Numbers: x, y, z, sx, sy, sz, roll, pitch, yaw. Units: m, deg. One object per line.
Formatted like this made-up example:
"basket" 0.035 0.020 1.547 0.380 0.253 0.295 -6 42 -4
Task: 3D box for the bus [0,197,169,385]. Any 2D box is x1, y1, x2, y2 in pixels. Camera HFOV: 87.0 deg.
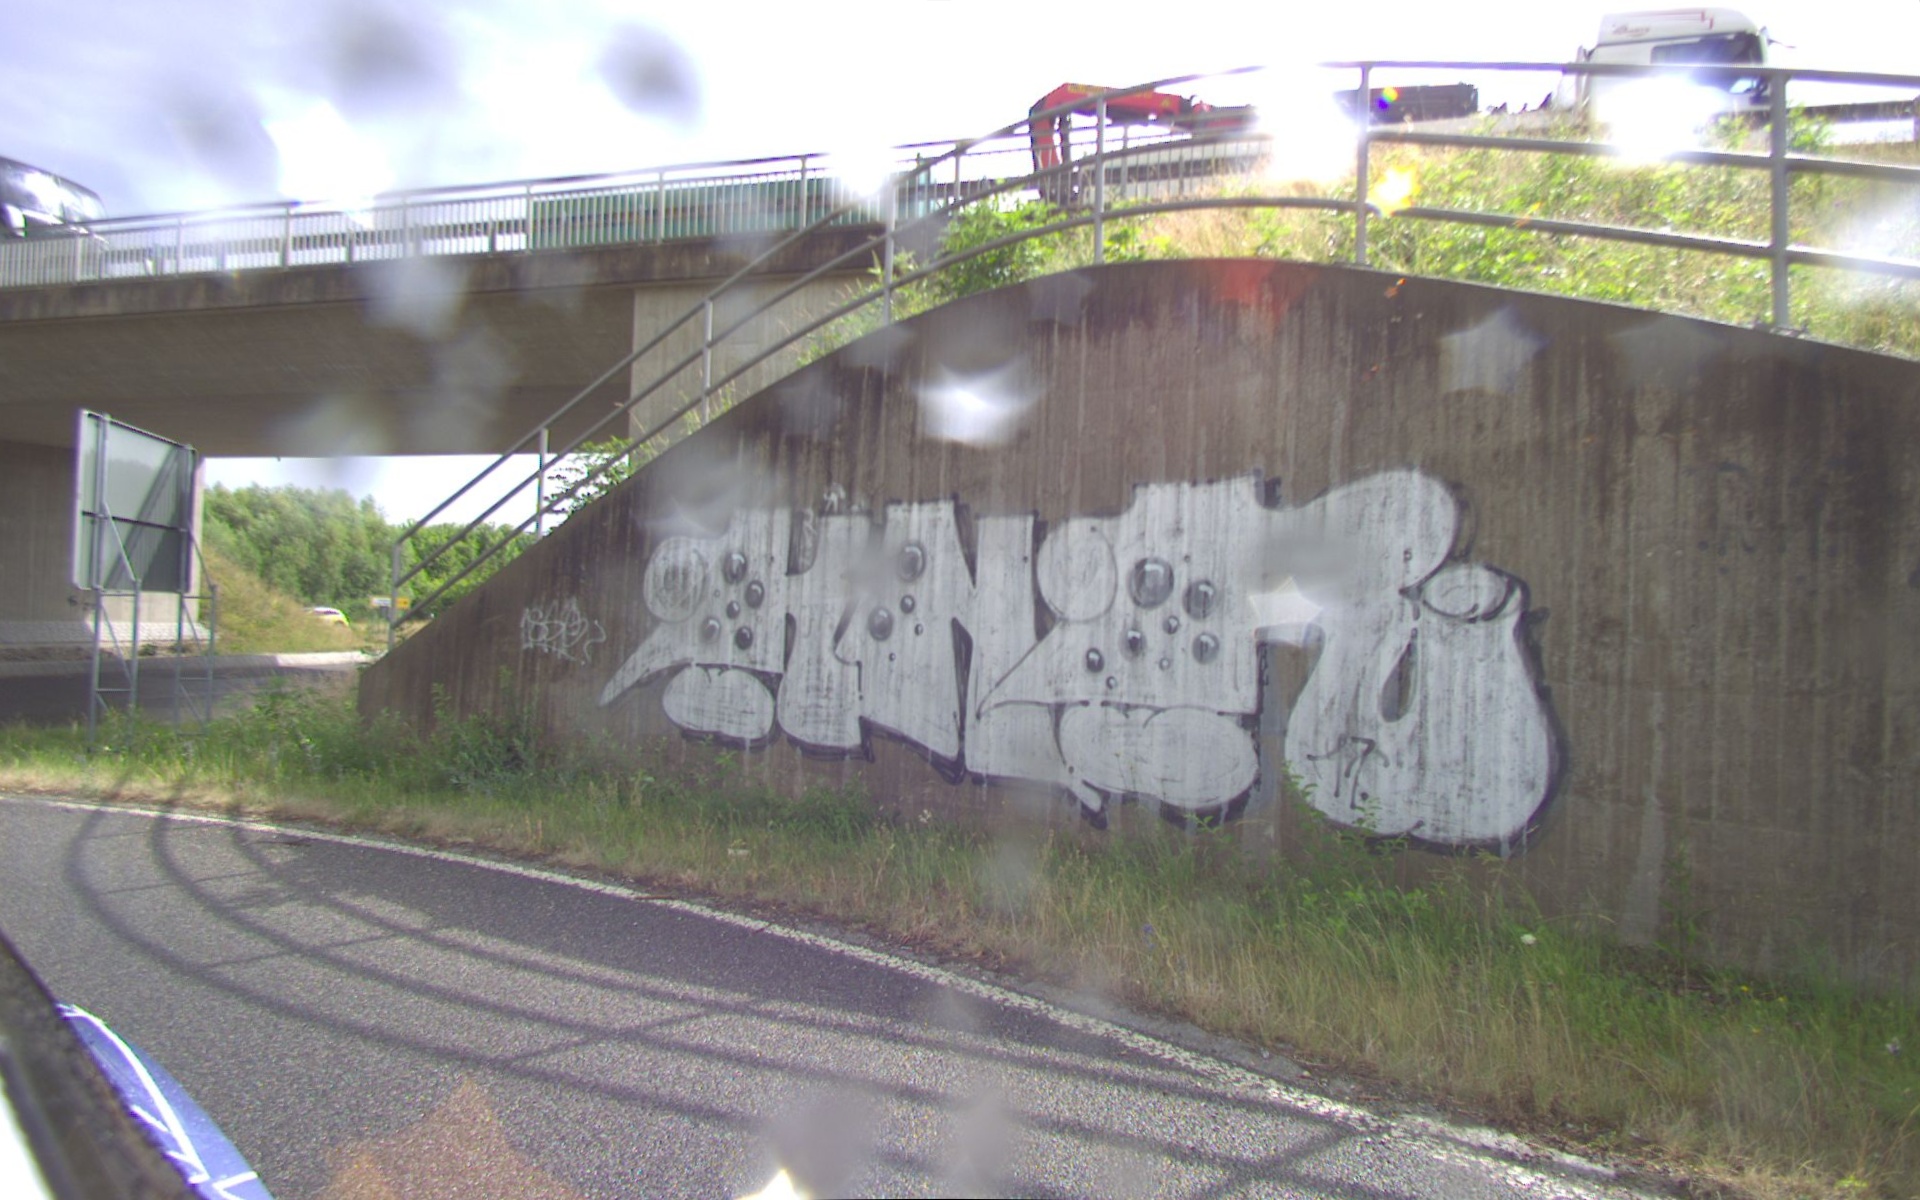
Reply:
"bus" -24.767 -6.575 22.339 14.304 3.103 2.605 2 0 10
